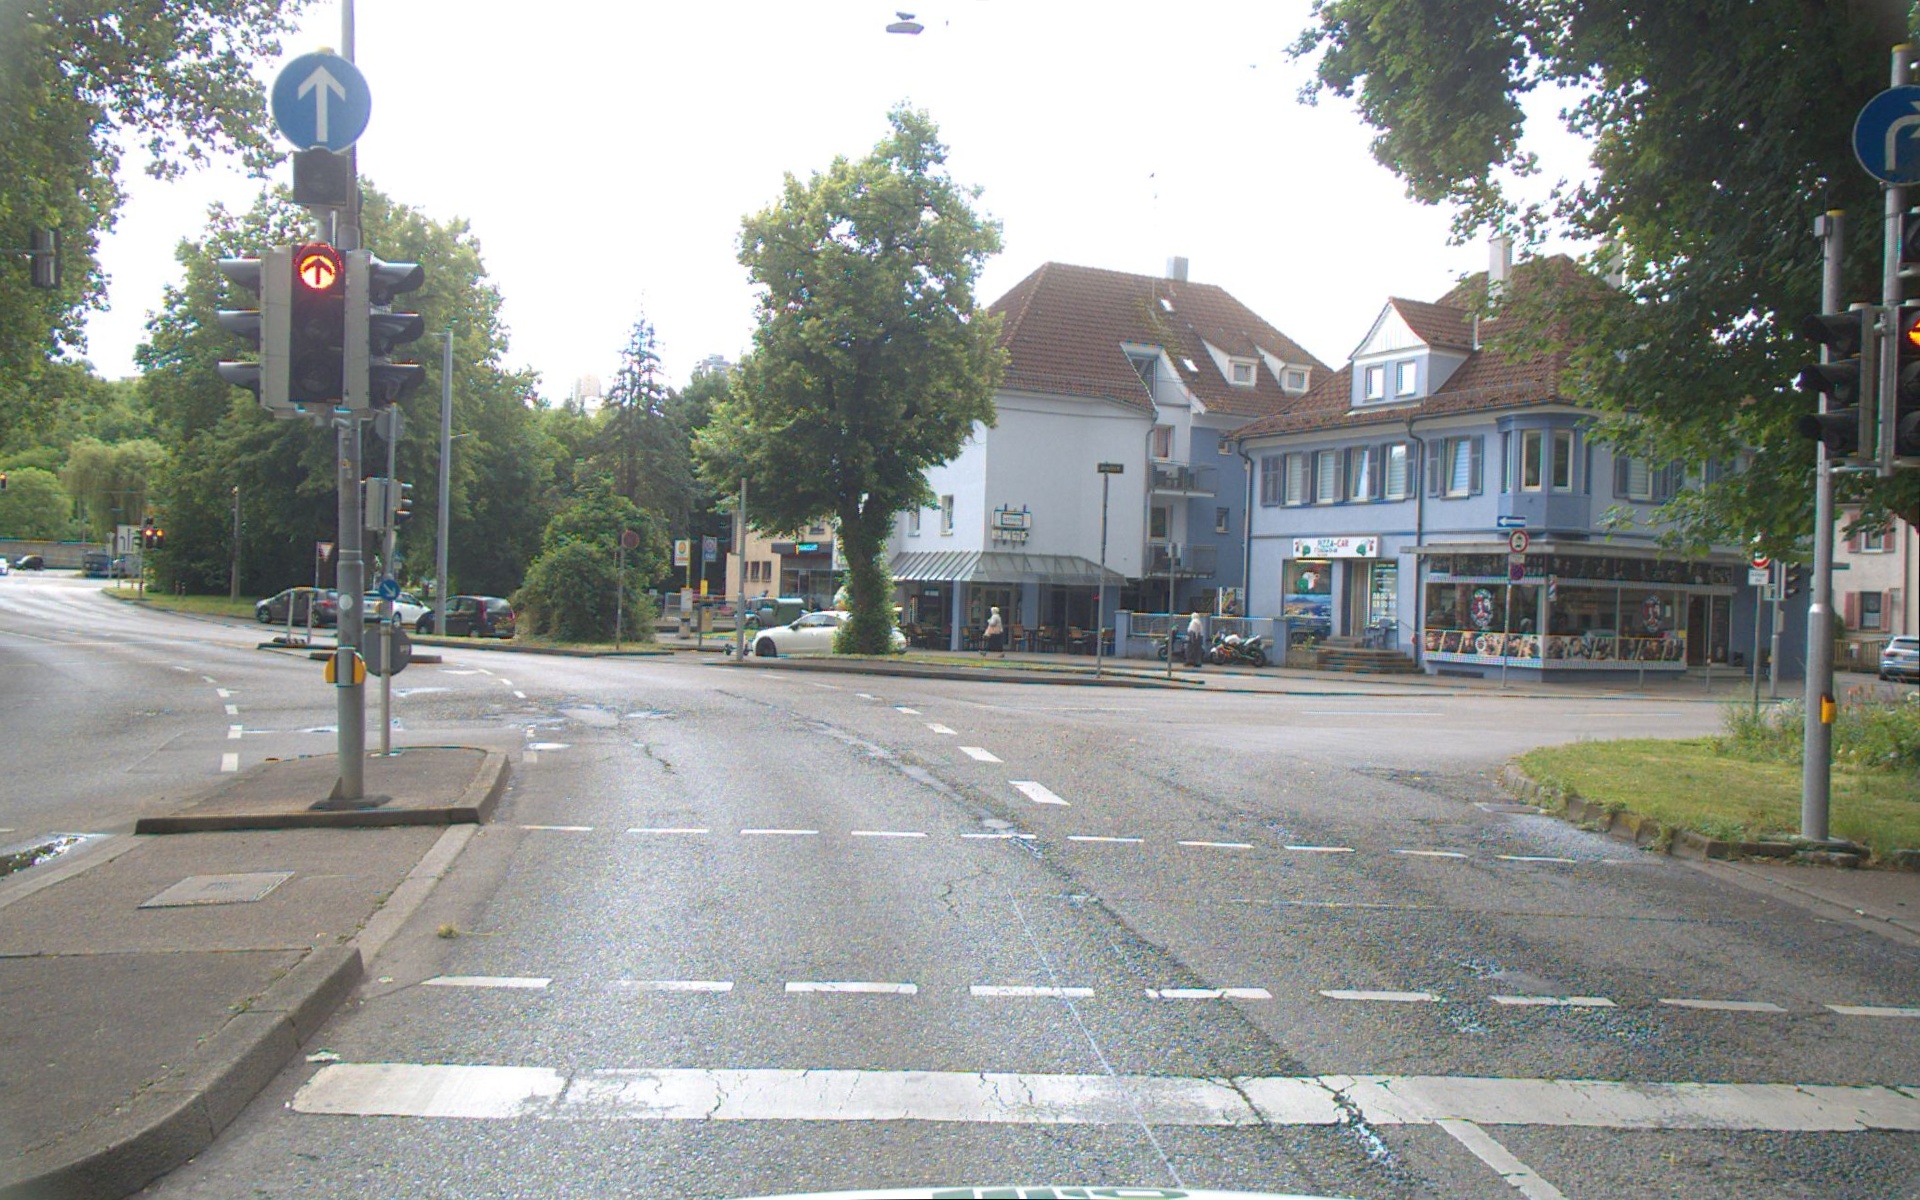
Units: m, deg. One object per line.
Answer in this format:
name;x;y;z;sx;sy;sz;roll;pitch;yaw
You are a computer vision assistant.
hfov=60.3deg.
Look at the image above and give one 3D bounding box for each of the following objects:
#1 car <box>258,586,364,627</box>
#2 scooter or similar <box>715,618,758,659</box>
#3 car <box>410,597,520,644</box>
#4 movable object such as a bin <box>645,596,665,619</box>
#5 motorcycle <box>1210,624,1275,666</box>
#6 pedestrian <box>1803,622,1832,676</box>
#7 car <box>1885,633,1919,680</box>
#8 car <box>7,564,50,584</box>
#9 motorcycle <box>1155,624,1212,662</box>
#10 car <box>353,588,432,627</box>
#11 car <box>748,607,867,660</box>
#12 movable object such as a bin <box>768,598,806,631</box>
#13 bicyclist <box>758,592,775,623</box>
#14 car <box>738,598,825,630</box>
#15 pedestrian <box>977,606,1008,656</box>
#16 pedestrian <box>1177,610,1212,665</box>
car;-24.861;0.244;63.397;3.469;1.490;1.586;1;0;12
scooter or similar;-5.732;0.981;42.544;0.408;1.029;1.567;1;0;20
car;-16.009;0.658;53.465;3.519;1.418;1.468;1;0;32
movable object such as a bin;-15.854;0.394;85.917;0.937;1.135;0.381;1;0;-22
motorcycle;8.271;1.309;48.483;1.765;1.141;0.692;1;0;38
pedestrian;24.695;1.408;47.618;0.451;1.544;0.584;1;-1;-21
car;29.850;1.736;51.417;1.471;1.393;3.164;1;0;38
car;-102.217;-2.827;181.494;3.948;2.049;1.978;1;0;-32
motorcycle;6.791;1.292;50.240;1.609;1.082;0.690;1;0;44
car;-22.670;0.306;66.187;1.512;1.490;3.398;1;0;10
car;-4.246;0.916;45.961;3.110;1.378;1.435;1;0;34
movable object such as a bin;-7.720;0.656;73.844;1.424;1.433;0.959;1;0;-27
bicyclist;-9.897;0.383;84.427;0.726;1.568;0.597;1;0;-19
car;-8.160;0.640;75.735;3.690;1.368;1.421;1;0;-27
pedestrian;1.026;0.981;52.289;0.694;1.572;0.675;1;0;39
pedestrian;6.828;1.085;48.088;0.754;1.572;0.675;1;-1;38
